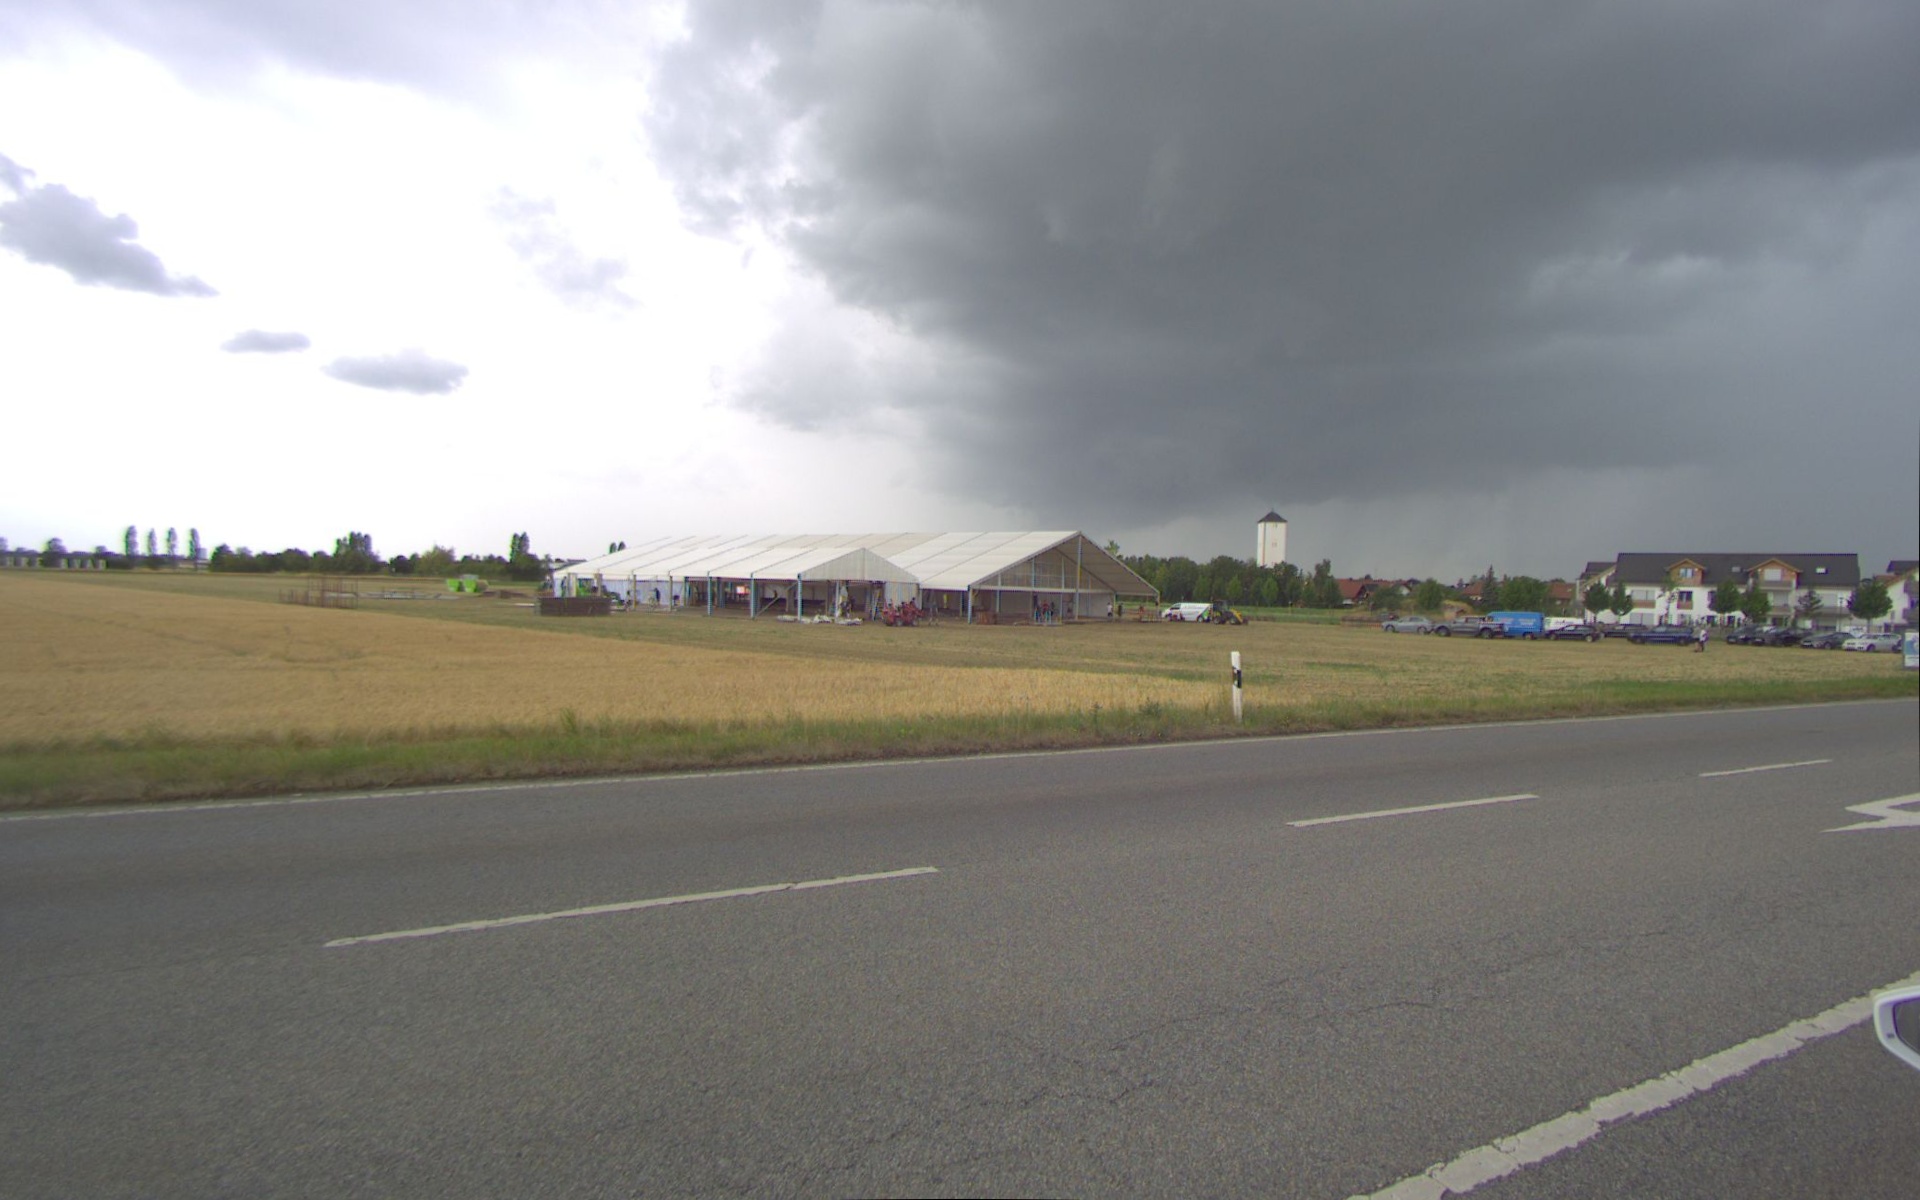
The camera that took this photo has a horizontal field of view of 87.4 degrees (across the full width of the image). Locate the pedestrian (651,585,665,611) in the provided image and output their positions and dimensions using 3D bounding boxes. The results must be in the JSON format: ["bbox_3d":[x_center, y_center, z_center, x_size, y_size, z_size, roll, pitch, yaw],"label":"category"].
[{"bbox_3d":[-24.651,-0.151,81.958,1.007,2.040,0.805,2,0,-11],"label":"pedestrian"}]

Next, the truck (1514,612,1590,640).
[{"bbox_3d":[51.982,2.248,88.249,5.495,2.226,2.596,2,0,38],"label":"truck"}]

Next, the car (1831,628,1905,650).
[{"bbox_3d":[66.879,2.895,74.001,4.137,1.465,1.996,2,0,-11],"label":"car"}]

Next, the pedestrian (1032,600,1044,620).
[{"bbox_3d":[7.069,0.938,90.926,0.721,1.803,0.756,2,0,41],"label":"pedestrian"}]

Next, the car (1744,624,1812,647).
[{"bbox_3d":[64.818,2.789,79.618,4.137,1.650,1.996,2,0,-11],"label":"car"}]

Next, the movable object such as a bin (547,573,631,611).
[{"bbox_3d":[-34.461,-0.765,93.103,7.468,3.219,4.139,3,1,40],"label":"movable object such as a bin"}]

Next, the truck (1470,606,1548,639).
[{"bbox_3d":[45.831,1.850,83.901,5.380,2.478,2.384,2,0,38],"label":"truck"}]

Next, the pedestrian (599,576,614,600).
[{"bbox_3d":[-30.171,-1.051,85.801,1.010,2.040,0.803,2,0,41],"label":"pedestrian"}]

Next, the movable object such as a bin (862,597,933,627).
[{"bbox_3d":[-4.243,0.848,68.500,2.556,1.889,4.456,2,0,37],"label":"movable object such as a bin"}]

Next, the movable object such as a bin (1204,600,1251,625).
[{"bbox_3d":[25.623,1.169,96.227,3.929,2.273,1.880,2,0,33],"label":"movable object such as a bin"}]

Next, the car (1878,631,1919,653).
[{"bbox_3d":[67.915,3.005,71.268,4.137,1.465,1.996,2,0,-11],"label":"car"}]

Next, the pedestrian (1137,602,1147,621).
[{"bbox_3d":[17.175,1.083,94.877,0.680,1.799,0.691,2,0,41],"label":"pedestrian"}]

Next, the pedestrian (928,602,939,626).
[{"bbox_3d":[-1.854,0.983,70.396,0.536,1.649,0.551,2,0,23],"label":"pedestrian"}]

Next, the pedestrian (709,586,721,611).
[{"bbox_3d":[-21.293,-0.105,87.405,0.926,2.130,0.864,2,0,-18],"label":"pedestrian"}]

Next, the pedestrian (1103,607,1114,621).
[{"bbox_3d":[13.467,1.264,91.018,0.689,1.288,0.682,2,0,-40],"label":"pedestrian"}]

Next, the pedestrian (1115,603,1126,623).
[{"bbox_3d":[14.461,1.164,90.357,0.686,1.799,0.685,2,0,-29],"label":"pedestrian"}]

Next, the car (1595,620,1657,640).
[{"bbox_3d":[61.655,2.758,93.067,4.572,1.719,1.990,2,0,41],"label":"car"}]

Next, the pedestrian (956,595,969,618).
[{"bbox_3d":[0.210,0.570,90.143,0.757,2.040,0.873,2,0,43],"label":"pedestrian"}]

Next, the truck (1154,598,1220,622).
[{"bbox_3d":[23.098,1.043,102.277,5.961,2.246,2.713,2,0,34],"label":"truck"}]

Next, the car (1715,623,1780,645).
[{"bbox_3d":[65.275,2.786,83.268,4.137,1.650,1.996,2,0,-11],"label":"car"}]

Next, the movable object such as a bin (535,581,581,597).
[{"bbox_3d":[-55.305,-1.473,138.242,2.529,2.040,5.385,2,0,41],"label":"movable object such as a bin"}]

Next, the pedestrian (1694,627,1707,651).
[{"bbox_3d":[49.811,2.618,67.553,0.583,1.576,0.623,2,0,42],"label":"pedestrian"}]

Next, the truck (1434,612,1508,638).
[{"bbox_3d":[41.947,2.037,82.467,5.156,1.946,2.106,2,0,35],"label":"truck"}]

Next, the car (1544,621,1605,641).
[{"bbox_3d":[51.231,2.563,83.764,4.107,1.539,1.990,2,0,41],"label":"car"}]

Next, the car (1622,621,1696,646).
[{"bbox_3d":[55.675,2.639,80.047,4.661,1.719,1.990,2,0,41],"label":"car"}]

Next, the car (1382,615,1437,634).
[{"bbox_3d":[39.837,2.185,89.050,4.237,1.481,1.886,2,0,35],"label":"car"}]

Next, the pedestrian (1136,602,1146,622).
[{"bbox_3d":[17.402,1.122,96.751,0.700,1.890,0.621,2,0,-29],"label":"pedestrian"}]

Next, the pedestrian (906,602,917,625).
[{"bbox_3d":[-3.435,0.949,71.376,0.578,1.649,0.466,2,0,-34],"label":"pedestrian"}]

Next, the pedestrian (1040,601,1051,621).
[{"bbox_3d":[7.665,0.965,90.250,0.646,1.767,0.724,2,0,40],"label":"pedestrian"}]

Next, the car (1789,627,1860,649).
[{"bbox_3d":[65.927,2.895,76.626,4.137,1.556,1.996,2,0,-11],"label":"car"}]

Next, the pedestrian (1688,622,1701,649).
[{"bbox_3d":[48.977,2.352,66.952,0.673,1.809,0.543,1,0,-41],"label":"pedestrian"}]
